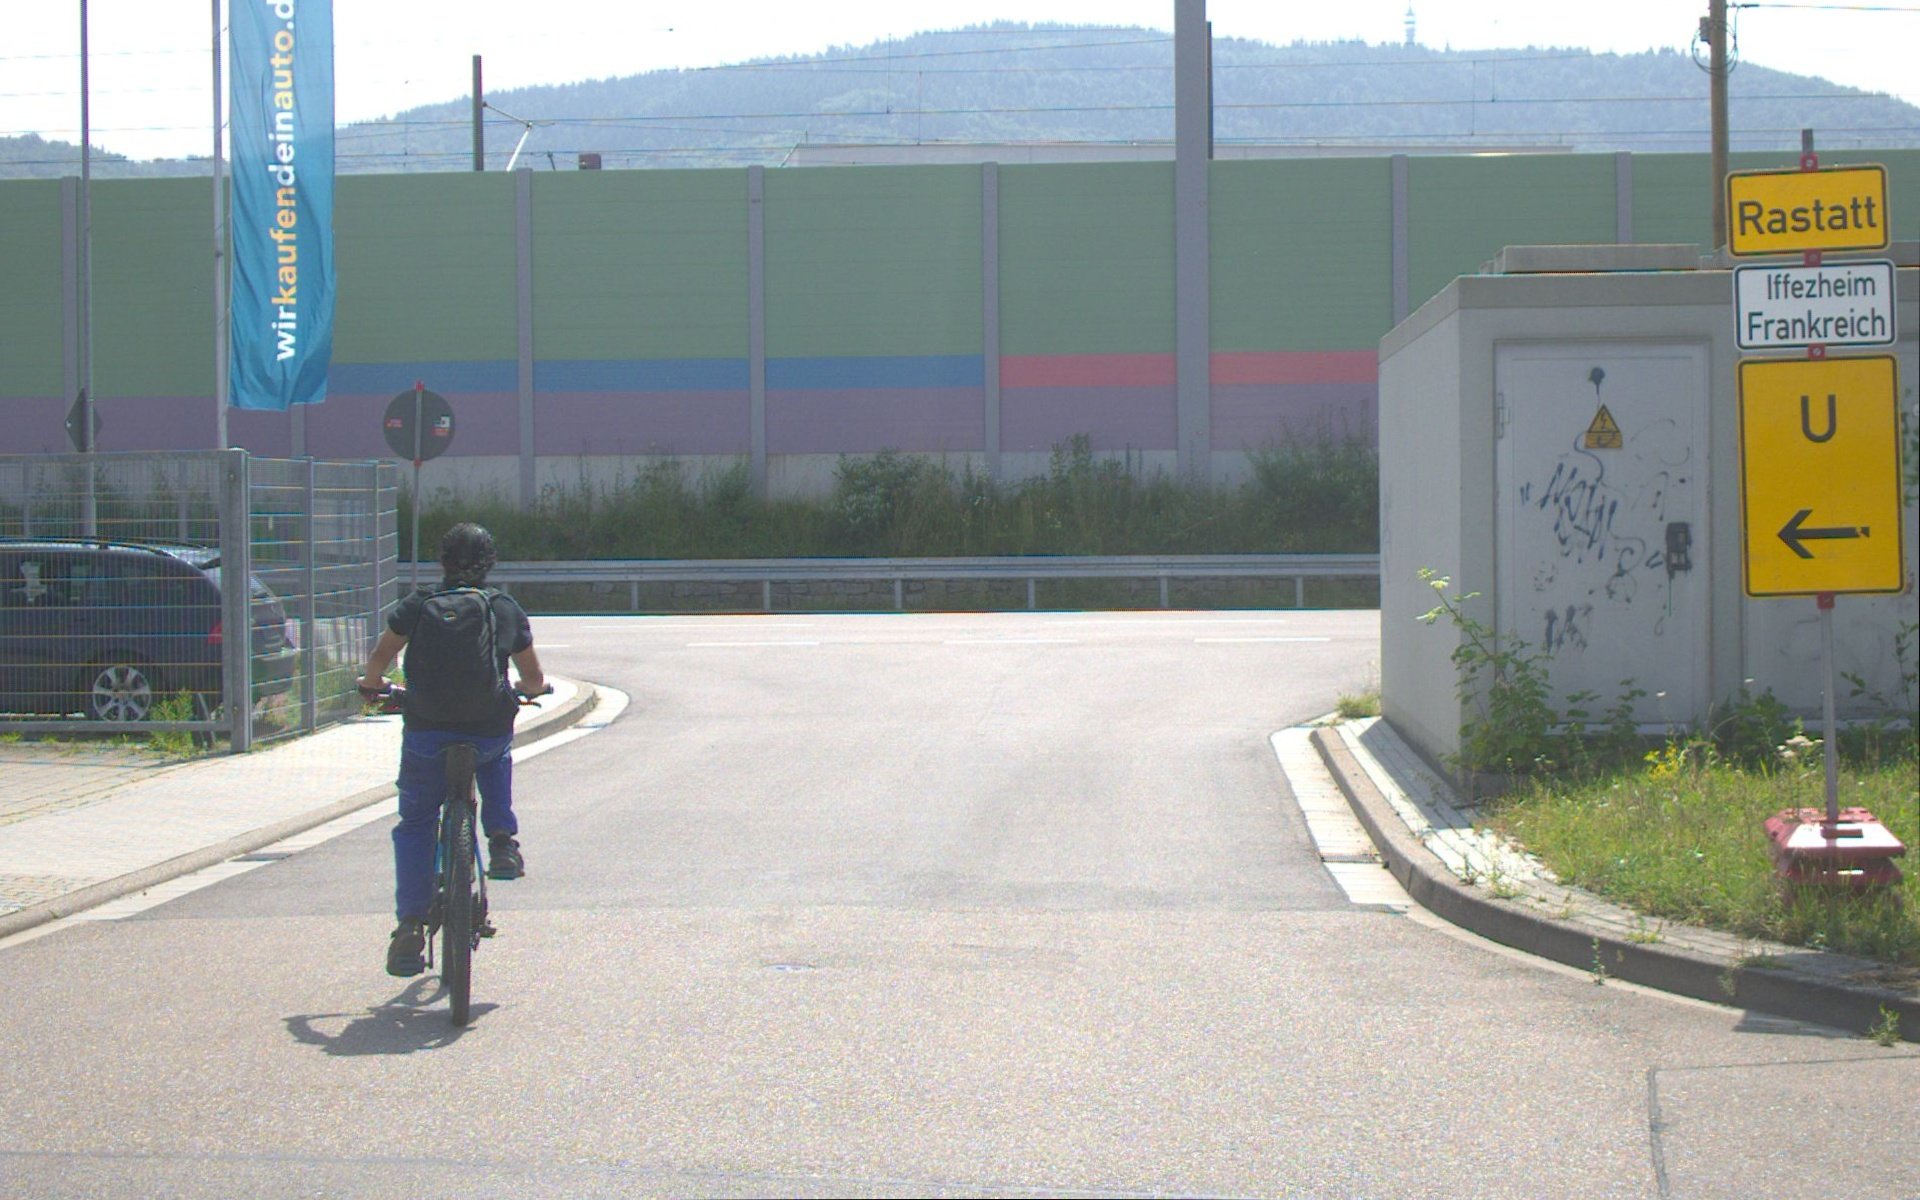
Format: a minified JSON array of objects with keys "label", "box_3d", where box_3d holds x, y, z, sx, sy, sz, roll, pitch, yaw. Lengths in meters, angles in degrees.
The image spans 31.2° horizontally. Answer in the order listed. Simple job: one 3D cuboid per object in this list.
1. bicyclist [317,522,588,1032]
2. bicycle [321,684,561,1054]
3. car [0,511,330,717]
[{"label":"bicyclist","box_3d":[-1.667,0.558,11.438,0.842,1.613,1.039,0,0,-6]},{"label":"bicycle","box_3d":[-1.701,0.847,11.499,0.685,1.048,1.901,-1,1,-6]},{"label":"car","box_3d":[-7.077,0.093,26.302,3.988,1.487,1.999,0,1,9]}]
